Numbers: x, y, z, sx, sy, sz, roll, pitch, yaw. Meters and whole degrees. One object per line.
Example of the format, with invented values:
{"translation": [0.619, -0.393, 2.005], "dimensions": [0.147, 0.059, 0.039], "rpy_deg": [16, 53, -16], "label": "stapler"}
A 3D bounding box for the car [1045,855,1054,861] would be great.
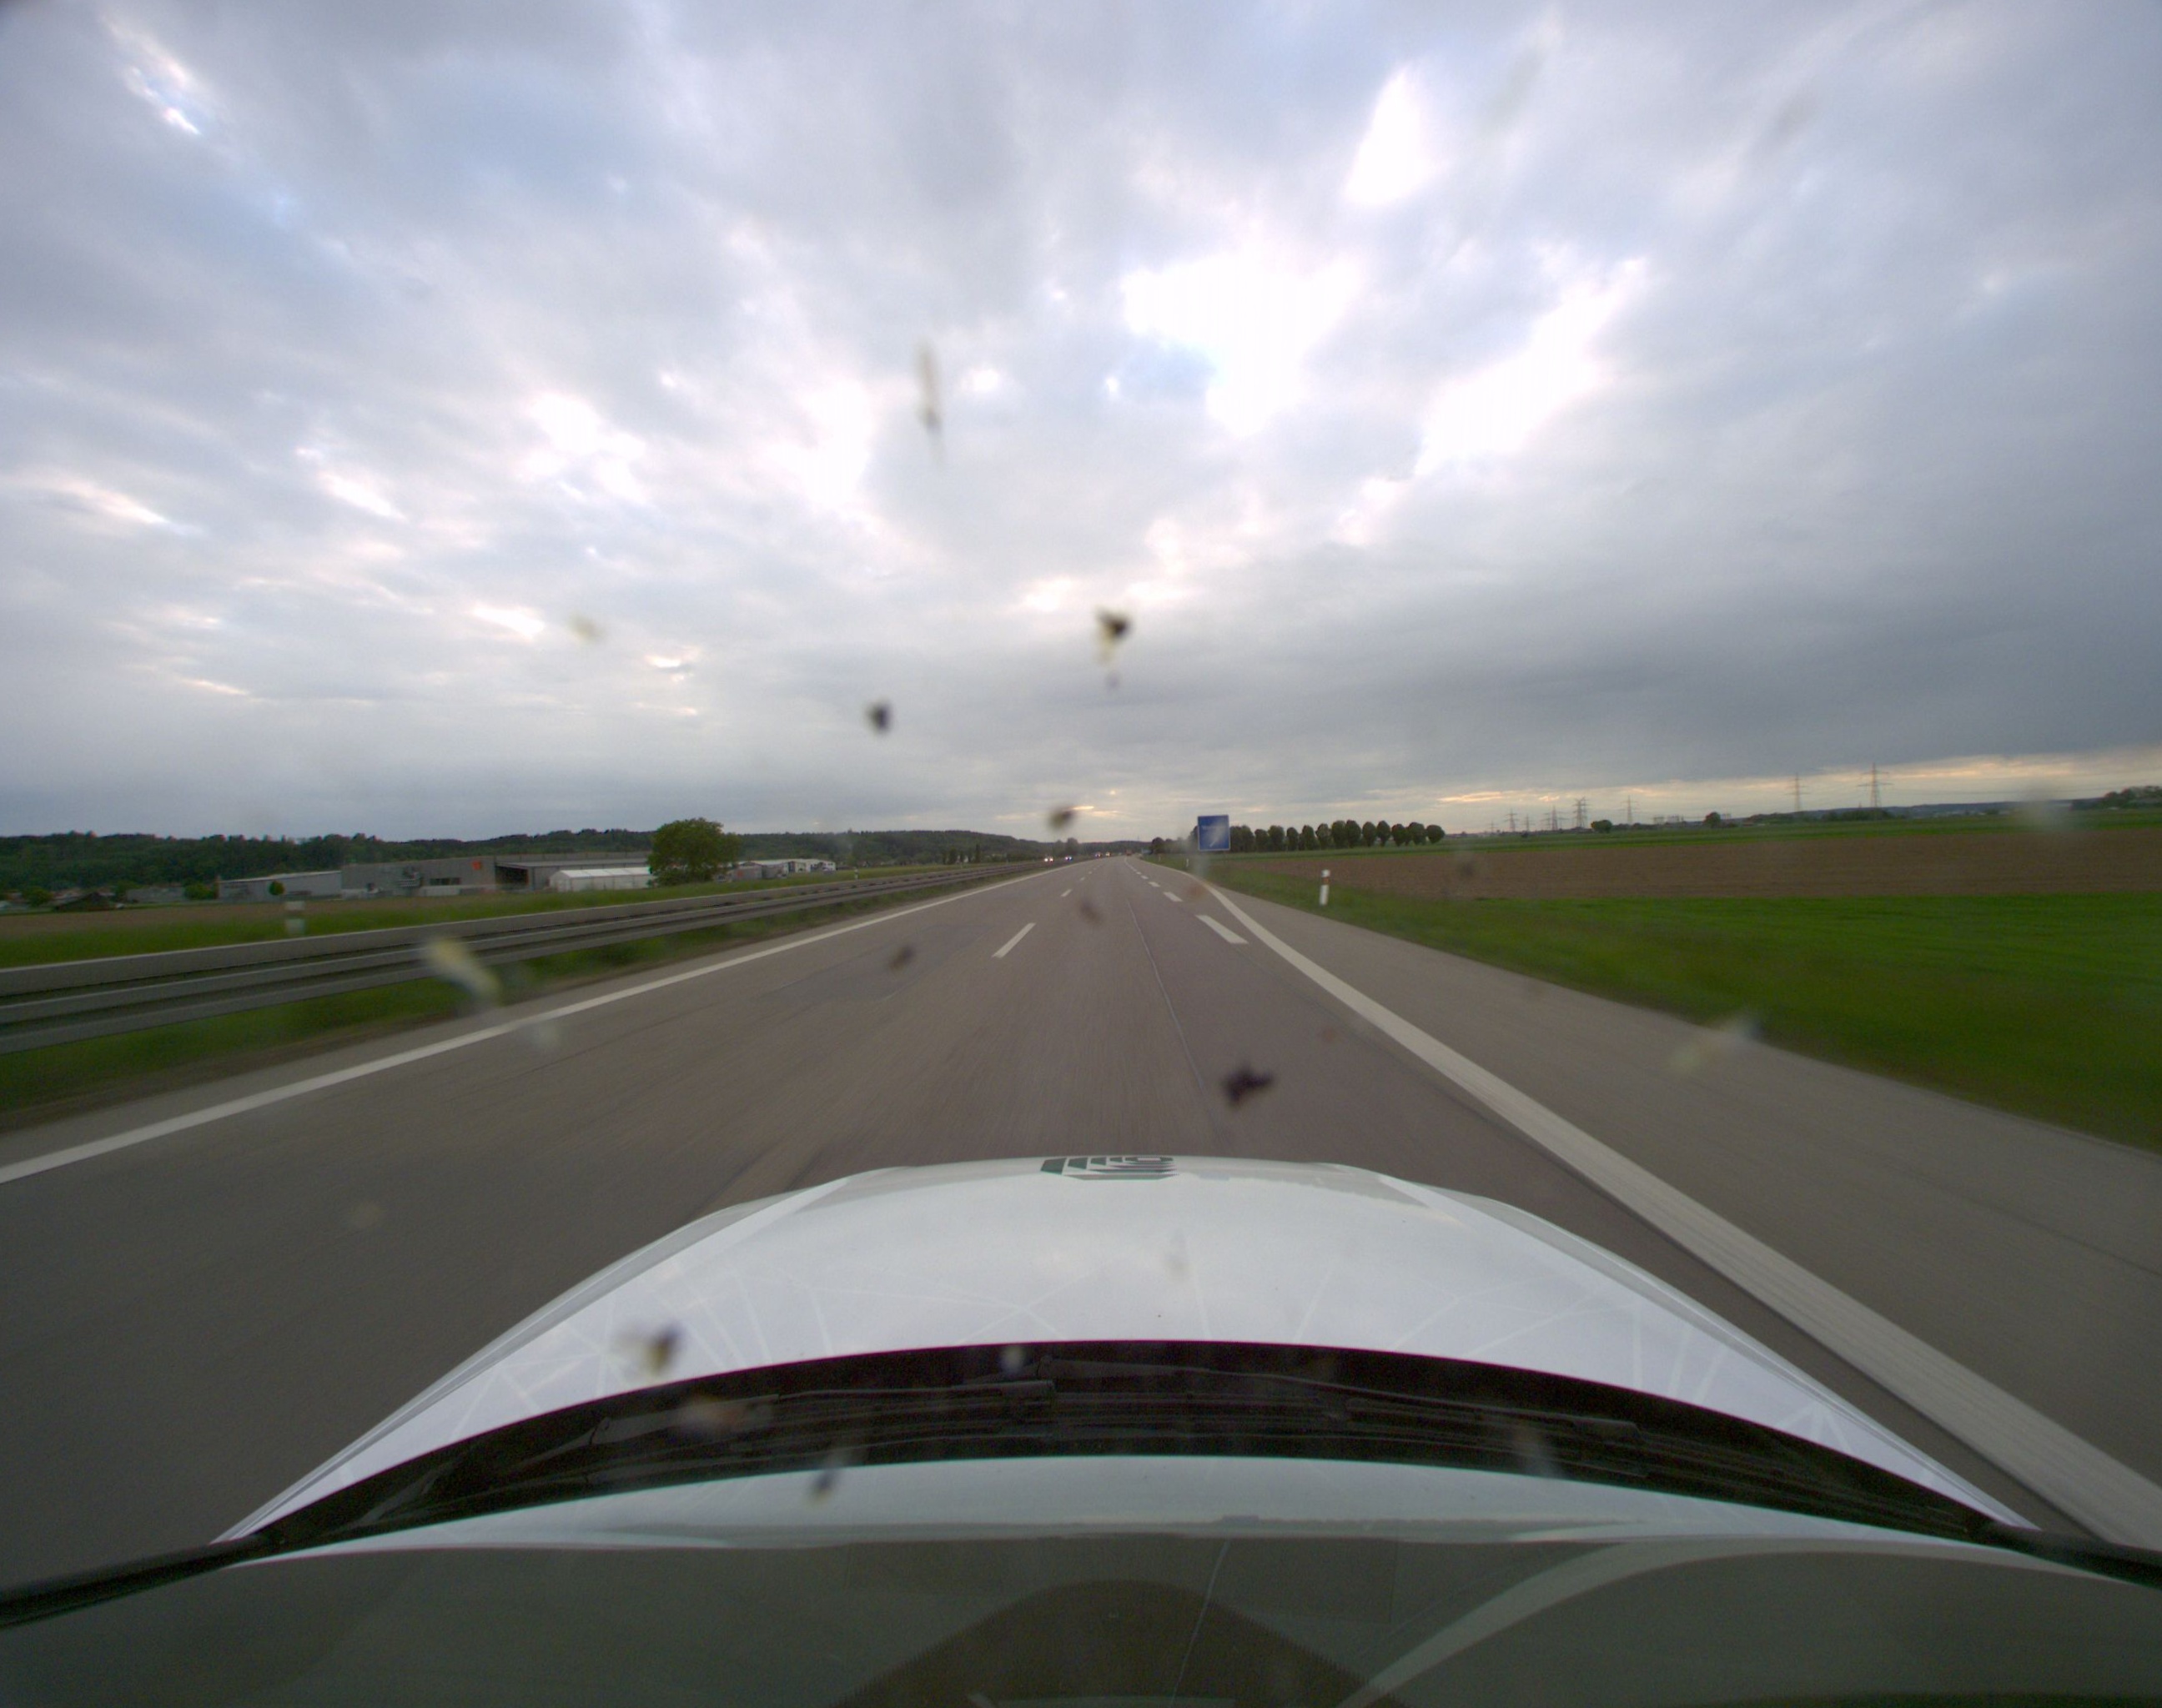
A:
{"translation": [-8.118, 1.108, 207.921], "dimensions": [1.986, 1.480, 4.454], "rpy_deg": [-1, 0, 2], "label": "car"}

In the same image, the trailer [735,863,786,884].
{"translation": [-90.020, 5.532, 228.674], "dimensions": [16.814, 5.135, 3.592], "rpy_deg": [-4, -2, 31], "label": "trailer"}

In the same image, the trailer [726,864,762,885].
{"translation": [-93.370, 5.723, 225.697], "dimensions": [9.951, 5.261, 3.778], "rpy_deg": [-4, -2, 31], "label": "trailer"}
